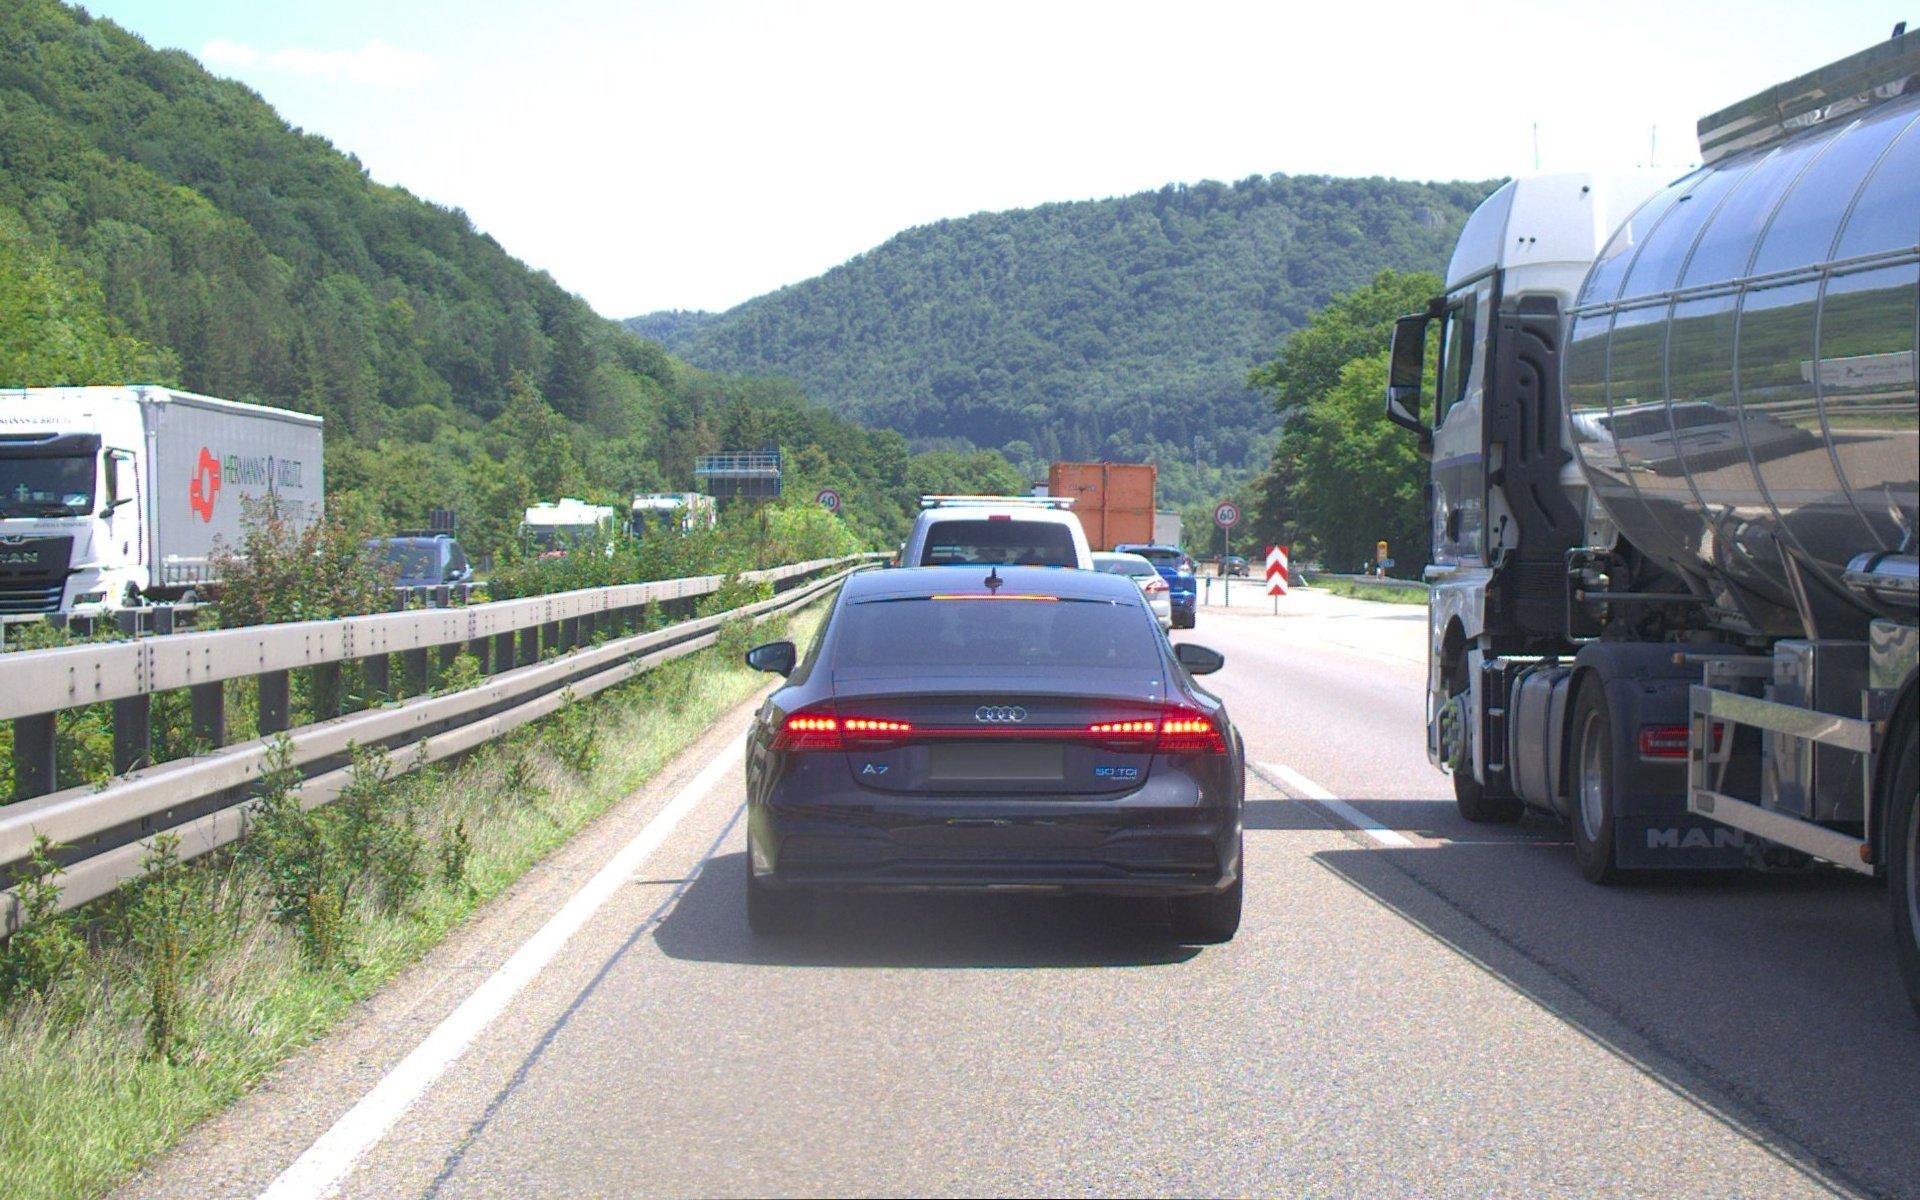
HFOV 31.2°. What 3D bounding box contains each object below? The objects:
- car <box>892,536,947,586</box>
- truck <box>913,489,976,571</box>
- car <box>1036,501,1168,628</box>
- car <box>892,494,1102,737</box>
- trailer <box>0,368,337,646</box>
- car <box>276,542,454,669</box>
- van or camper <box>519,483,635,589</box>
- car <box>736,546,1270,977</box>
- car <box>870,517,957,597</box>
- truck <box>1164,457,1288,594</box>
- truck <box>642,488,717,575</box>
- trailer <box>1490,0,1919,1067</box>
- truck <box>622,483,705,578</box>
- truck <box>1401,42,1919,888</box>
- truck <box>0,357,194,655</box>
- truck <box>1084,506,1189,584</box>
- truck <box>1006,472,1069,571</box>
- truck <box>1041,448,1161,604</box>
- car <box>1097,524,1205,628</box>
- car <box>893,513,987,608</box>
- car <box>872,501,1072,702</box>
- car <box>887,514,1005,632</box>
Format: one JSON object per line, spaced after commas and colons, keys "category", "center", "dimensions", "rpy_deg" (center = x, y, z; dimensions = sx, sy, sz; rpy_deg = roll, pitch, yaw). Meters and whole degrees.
{"category": "car", "center": [-1.324, -1.294, 113.326], "dimensions": [1.712, 1.613, 4.000], "rpy_deg": [0, 1, 1]}
{"category": "truck", "center": [-0.644, -3.034, 150.010], "dimensions": [2.628, 3.429, 11.421], "rpy_deg": [0, 1, 0]}
{"category": "car", "center": [2.318, -0.602, 56.931], "dimensions": [1.993, 2.007, 4.000], "rpy_deg": [0, 1, 0]}
{"category": "car", "center": [0.268, 0.087, 28.039], "dimensions": [1.576, 1.827, 4.000], "rpy_deg": [1, 1, 0]}
{"category": "trailer", "center": [-12.923, -1.461, 56.595], "dimensions": [2.782, 3.986, 14.160], "rpy_deg": [1, 1, 0]}
{"category": "car", "center": [-8.794, 0.036, 51.161], "dimensions": [1.922, 1.790, 4.601], "rpy_deg": [1, 1, -1]}
{"category": "van or camper", "center": [-12.492, -2.082, 112.714], "dimensions": [2.590, 3.324, 7.647], "rpy_deg": [0, 1, 3]}
{"category": "car", "center": [0.067, 0.533, 14.027], "dimensions": [1.849, 1.483, 4.083], "rpy_deg": [1, 1, -2]}
{"category": "car", "center": [-0.947, -0.900, 71.832], "dimensions": [1.712, 1.613, 4.000], "rpy_deg": [0, 1, 1]}
{"category": "truck", "center": [8.232, -2.315, 108.189], "dimensions": [2.817, 3.989, 14.955], "rpy_deg": [1, 1, 0]}
{"category": "truck", "center": [-13.079, -3.192, 161.011], "dimensions": [2.869, 3.967, 9.032], "rpy_deg": [1, 1, -1]}
{"category": "trailer", "center": [4.060, -0.512, 11.435], "dimensions": [2.538, 3.722, 11.892], "rpy_deg": [1, 1, -1]}
{"category": "truck", "center": [-13.002, -3.034, 151.378], "dimensions": [2.869, 3.992, 10.171], "rpy_deg": [1, 1, -1]}
{"category": "truck", "center": [3.955, -0.635, 17.933], "dimensions": [2.511, 3.745, 5.246], "rpy_deg": [1, 1, -1]}
{"category": "truck", "center": [-12.892, -1.298, 48.922], "dimensions": [2.728, 3.988, 5.370], "rpy_deg": [-1, 1, 0]}
{"category": "truck", "center": [10.479, -3.197, 201.579], "dimensions": [3.795, 4.399, 14.947], "rpy_deg": [0, 1, 12]}
{"category": "truck", "center": [2.795, -2.856, 126.415], "dimensions": [1.993, 3.435, 11.812], "rpy_deg": [1, 1, 0]}
{"category": "truck", "center": [3.800, -2.025, 96.032], "dimensions": [2.817, 3.989, 14.955], "rpy_deg": [1, 1, 0]}
{"category": "car", "center": [3.768, -0.494, 68.410], "dimensions": [1.993, 1.996, 4.000], "rpy_deg": [0, 1, 1]}
{"category": "car", "center": [-0.457, -0.880, 75.497], "dimensions": [1.993, 2.007, 4.000], "rpy_deg": [0, 1, -1]}
{"category": "car", "center": [0.108, -0.018, 36.726], "dimensions": [1.993, 2.007, 4.000], "rpy_deg": [1, 1, 0]}
{"category": "car", "center": [-0.269, -0.494, 60.488], "dimensions": [1.993, 2.007, 4.000], "rpy_deg": [0, 1, -1]}
